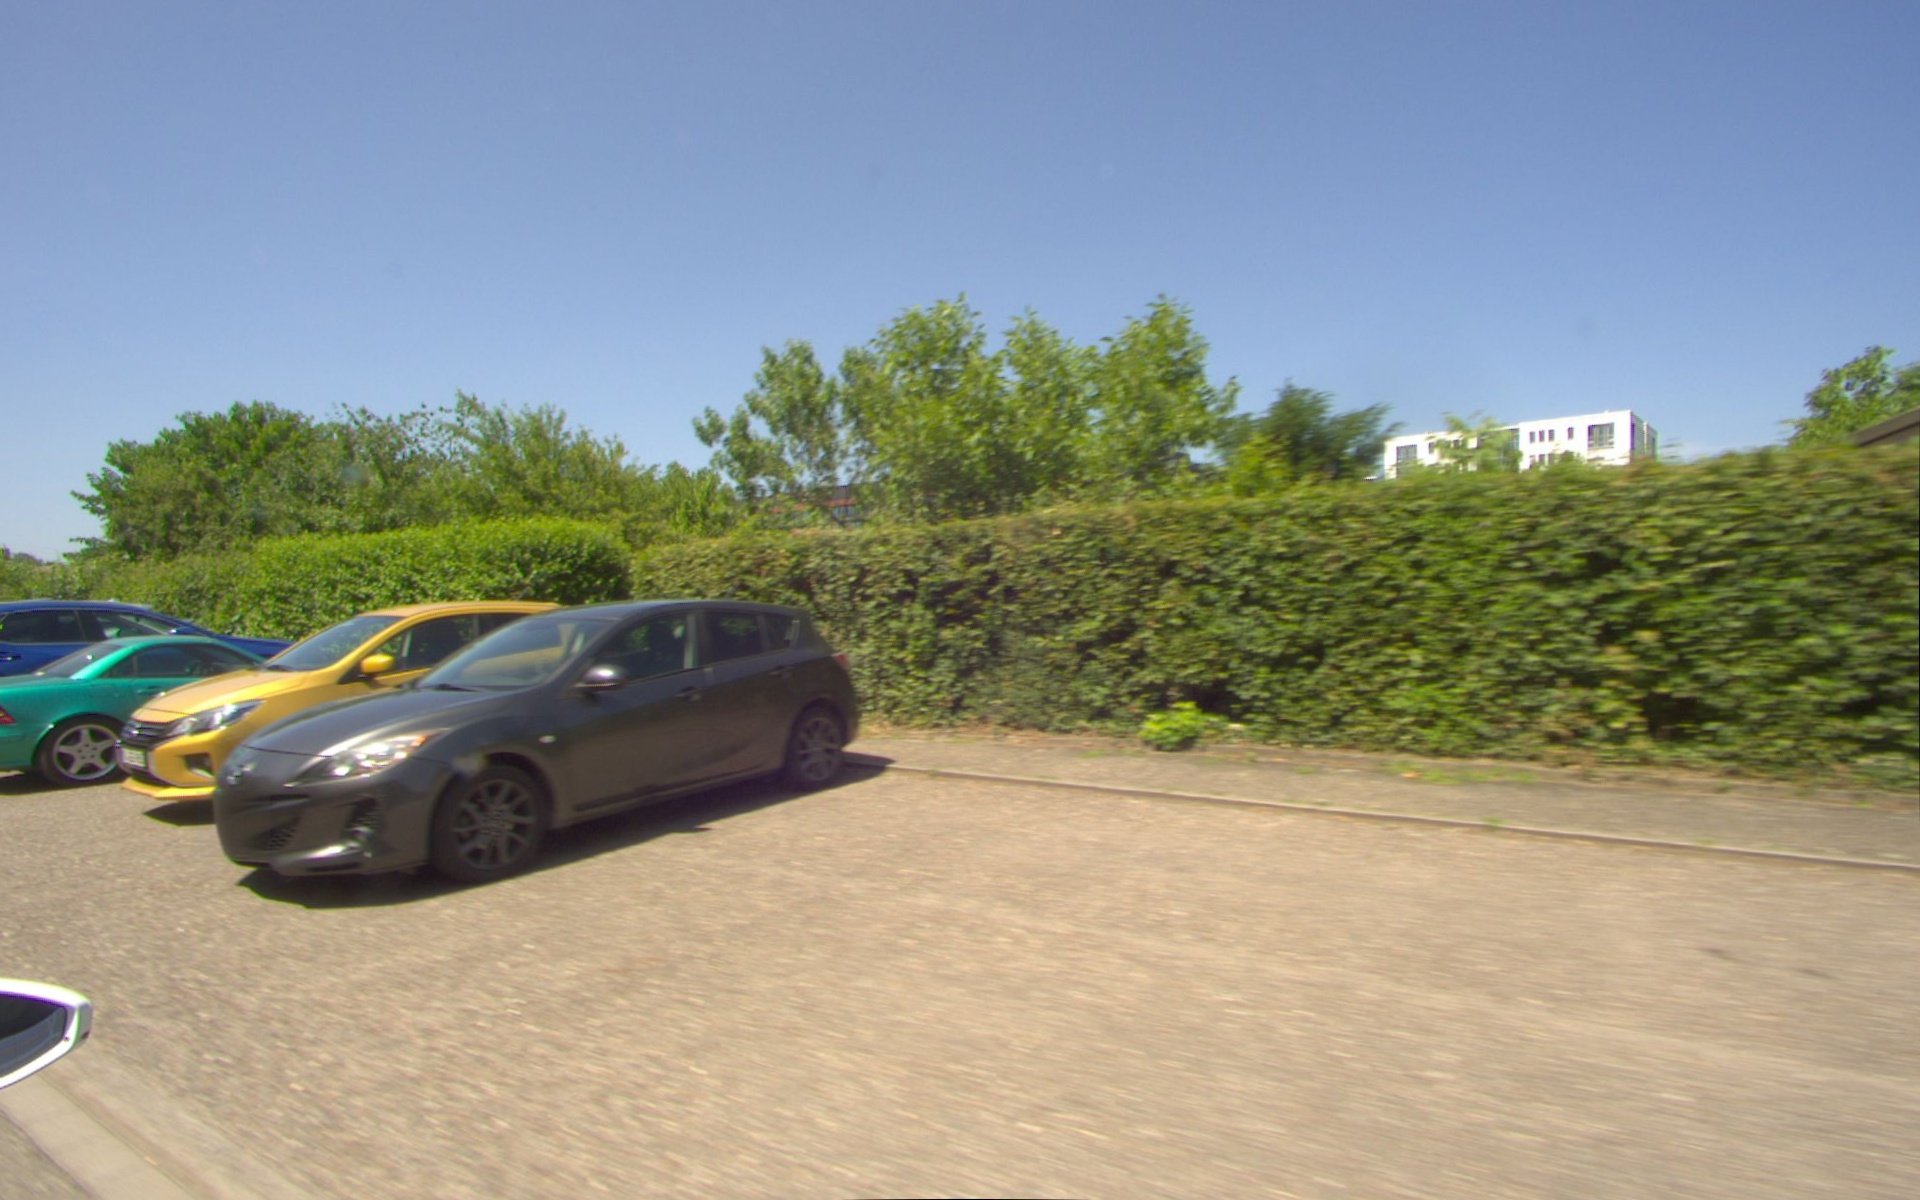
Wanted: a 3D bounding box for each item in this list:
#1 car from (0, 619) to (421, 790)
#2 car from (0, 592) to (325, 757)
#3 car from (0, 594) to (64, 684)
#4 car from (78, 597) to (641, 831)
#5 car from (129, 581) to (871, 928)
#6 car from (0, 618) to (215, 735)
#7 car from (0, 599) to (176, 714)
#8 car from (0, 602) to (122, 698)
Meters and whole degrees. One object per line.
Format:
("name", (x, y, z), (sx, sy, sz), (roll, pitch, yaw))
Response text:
("car", (-7.736, 0.921, 10.079), (1.606, 1.285, 3.722), (-1, 1, 35))
("car", (-10.044, 0.778, 11.543), (1.797, 1.656, 4.227), (-1, 1, 33))
("car", (-20.158, 0.846, 18.937), (1.850, 1.721, 4.393), (-1, 1, 32))
("car", (-4.918, 0.774, 8.721), (1.750, 1.474, 3.791), (-1, 1, 33))
("car", (-2.627, 0.684, 6.724), (1.857, 1.515, 4.152), (-1, 1, 33))
("car", (-12.598, 0.967, 13.189), (1.786, 1.457, 4.130), (-1, -1, 26))
("car", (-14.741, 0.843, 15.100), (1.873, 1.675, 4.227), (-2, -1, 33))
("car", (-17.770, 0.892, 17.756), (1.861, 1.679, 4.113), (-1, 0, 35))
